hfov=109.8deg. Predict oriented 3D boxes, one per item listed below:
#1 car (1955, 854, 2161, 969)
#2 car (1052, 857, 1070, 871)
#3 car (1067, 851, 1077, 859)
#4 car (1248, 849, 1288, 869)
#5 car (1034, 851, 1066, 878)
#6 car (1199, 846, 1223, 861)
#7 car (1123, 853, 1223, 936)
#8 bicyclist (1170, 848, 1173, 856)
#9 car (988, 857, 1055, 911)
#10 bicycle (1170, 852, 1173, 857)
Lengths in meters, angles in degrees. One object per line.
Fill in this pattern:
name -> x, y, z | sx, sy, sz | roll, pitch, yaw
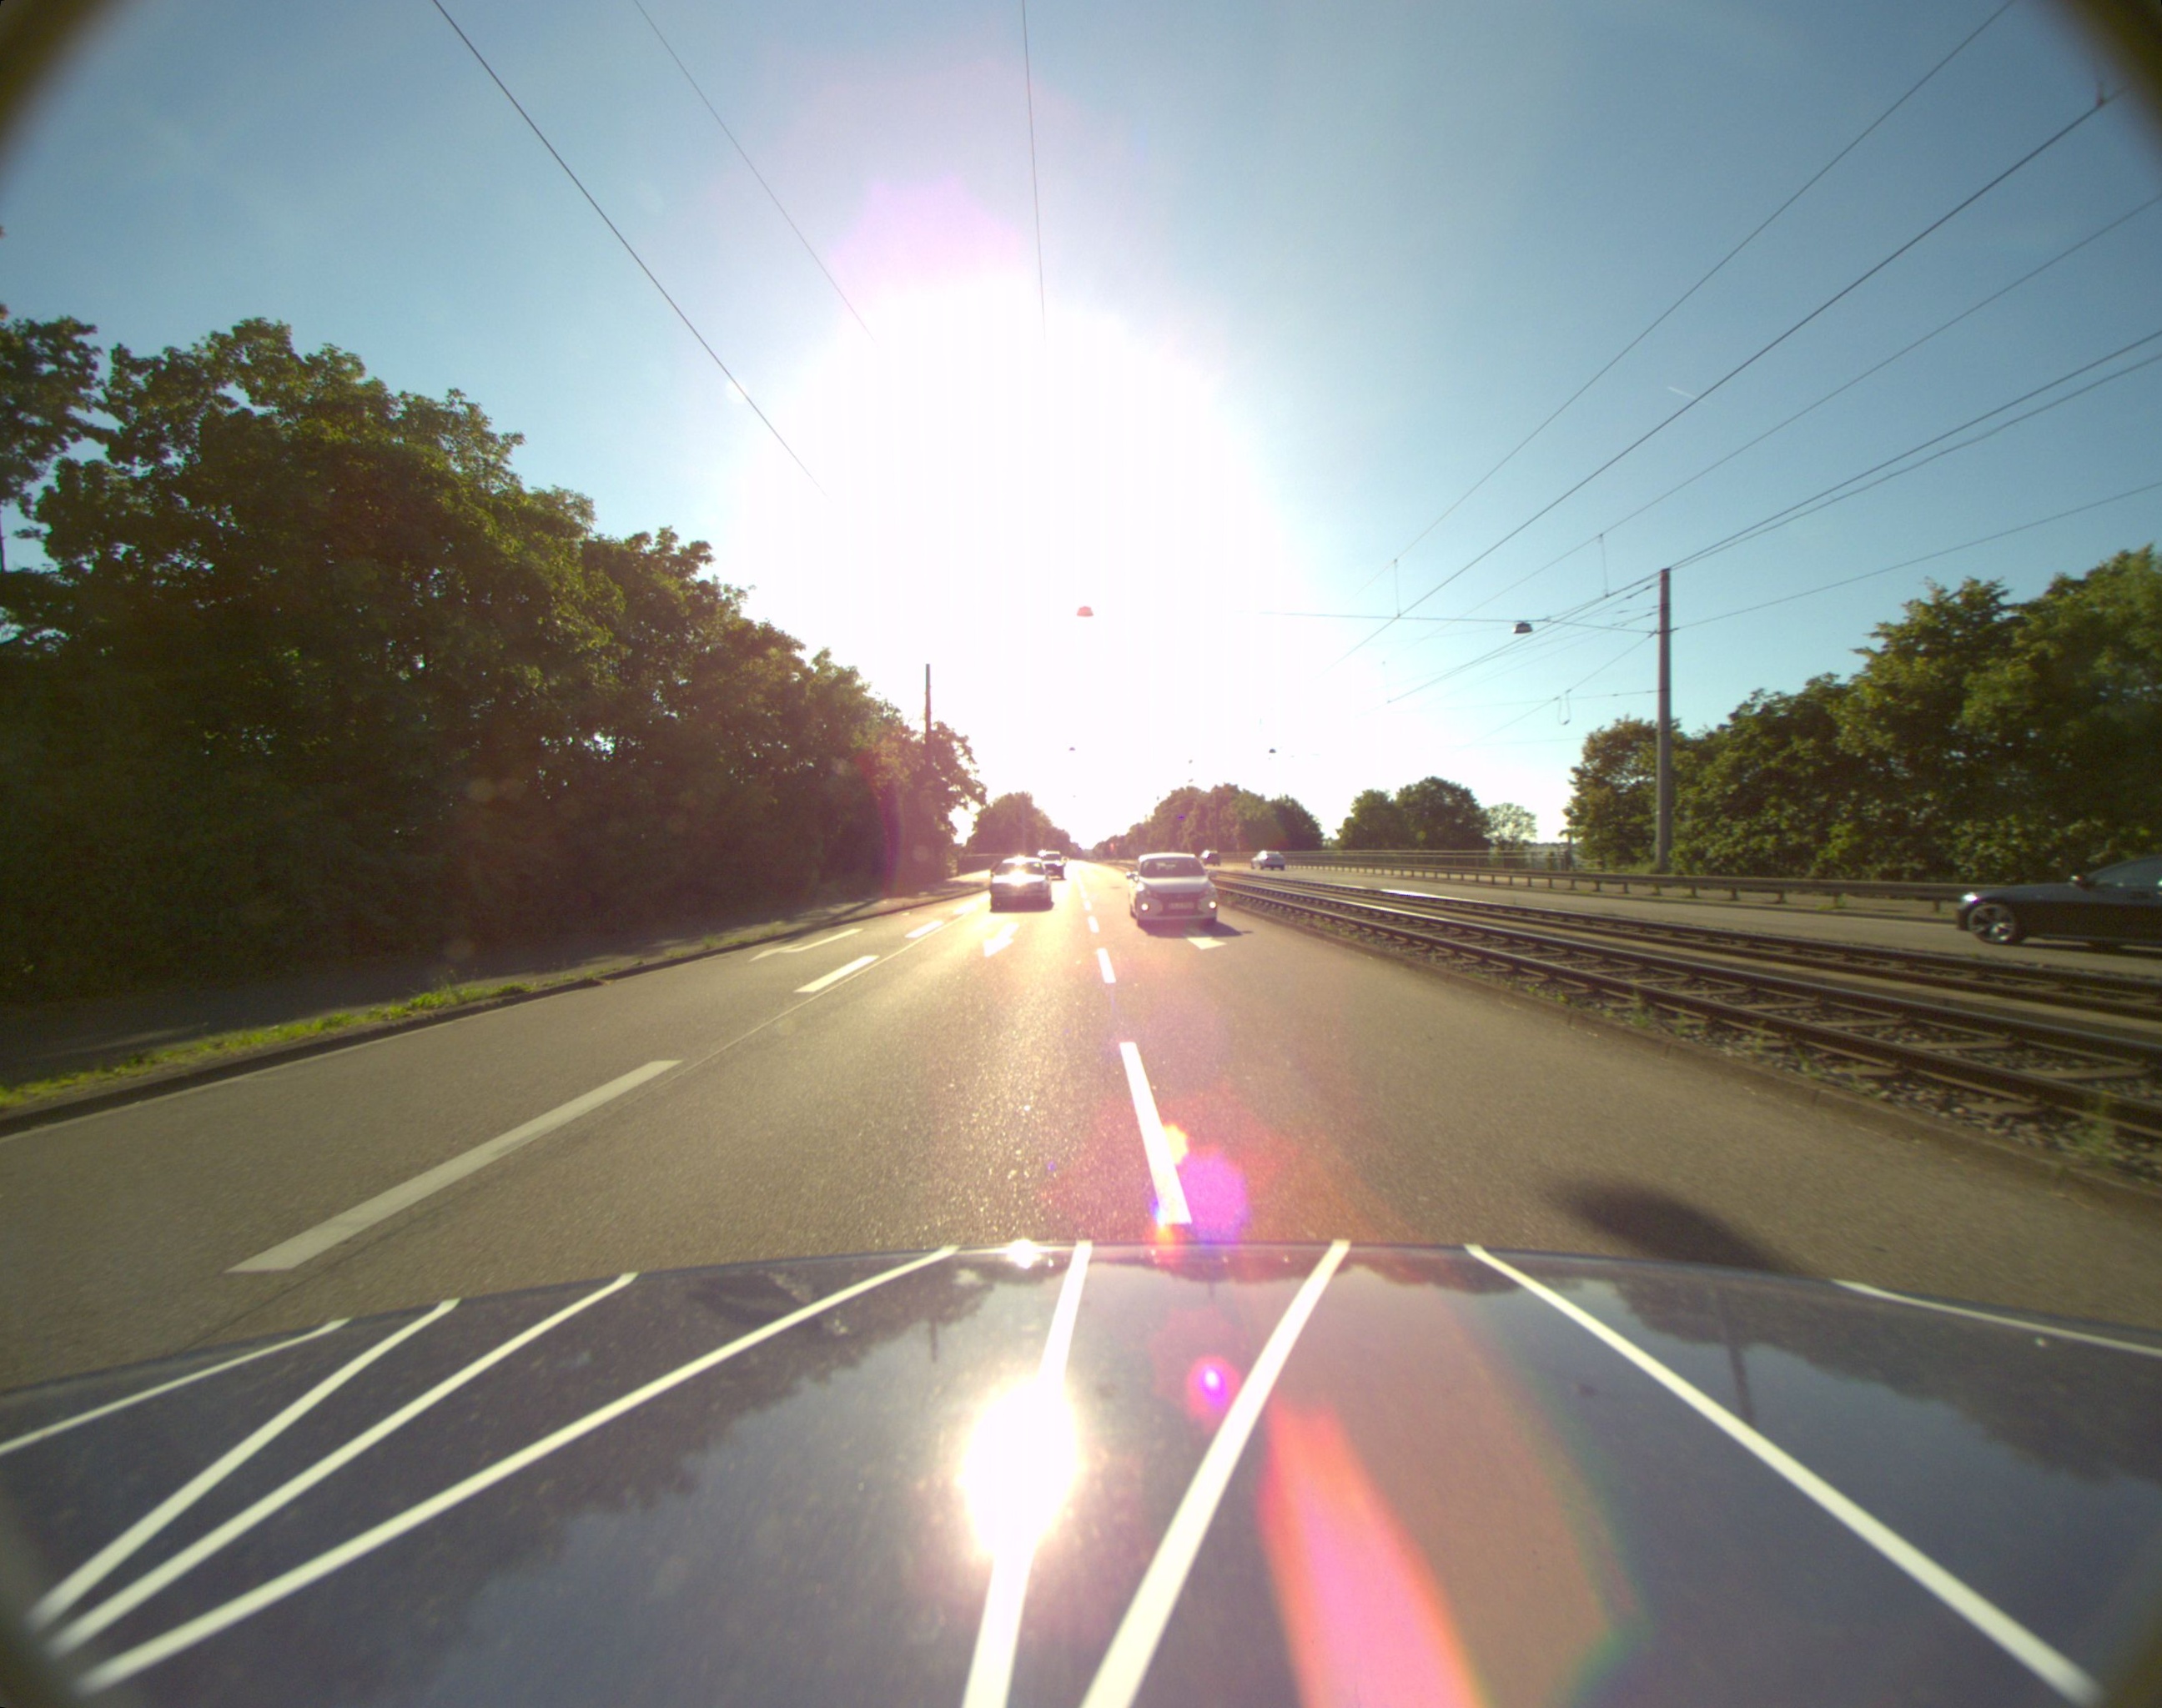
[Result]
car -> 14.518, 0.754, 9.634 | 1.661, 1.424, 4.501 | 1, 1, 0
car -> -2.313, 1.113, 89.306 | 1.905, 1.512, 3.956 | -2, 1, 0
car -> -1.912, 0.143, 162.478 | 1.905, 1.512, 3.956 | -2, 1, -1
car -> 14.849, 0.360, 60.555 | 1.759, 1.406, 4.876 | 1, 1, -2
car -> -1.844, 0.613, 46.039 | 1.709, 1.512, 3.843 | -2, 1, 0
car -> 14.529, -0.055, 85.070 | 1.713, 1.571, 4.800 | 0, 1, -1
car -> 1.889, 0.788, 16.715 | 1.709, 1.503, 3.862 | -2, 1, 0
bicyclist -> 19.672, -0.536, 165.695 | 0.498, 1.741, 0.833 | -2, 1, -1
car -> -1.761, 0.853, 23.590 | 1.693, 1.409, 4.134 | -2, 1, 0
bicycle -> 19.696, 0.087, 165.791 | 0.505, 1.046, 1.727 | -2, 1, 0
